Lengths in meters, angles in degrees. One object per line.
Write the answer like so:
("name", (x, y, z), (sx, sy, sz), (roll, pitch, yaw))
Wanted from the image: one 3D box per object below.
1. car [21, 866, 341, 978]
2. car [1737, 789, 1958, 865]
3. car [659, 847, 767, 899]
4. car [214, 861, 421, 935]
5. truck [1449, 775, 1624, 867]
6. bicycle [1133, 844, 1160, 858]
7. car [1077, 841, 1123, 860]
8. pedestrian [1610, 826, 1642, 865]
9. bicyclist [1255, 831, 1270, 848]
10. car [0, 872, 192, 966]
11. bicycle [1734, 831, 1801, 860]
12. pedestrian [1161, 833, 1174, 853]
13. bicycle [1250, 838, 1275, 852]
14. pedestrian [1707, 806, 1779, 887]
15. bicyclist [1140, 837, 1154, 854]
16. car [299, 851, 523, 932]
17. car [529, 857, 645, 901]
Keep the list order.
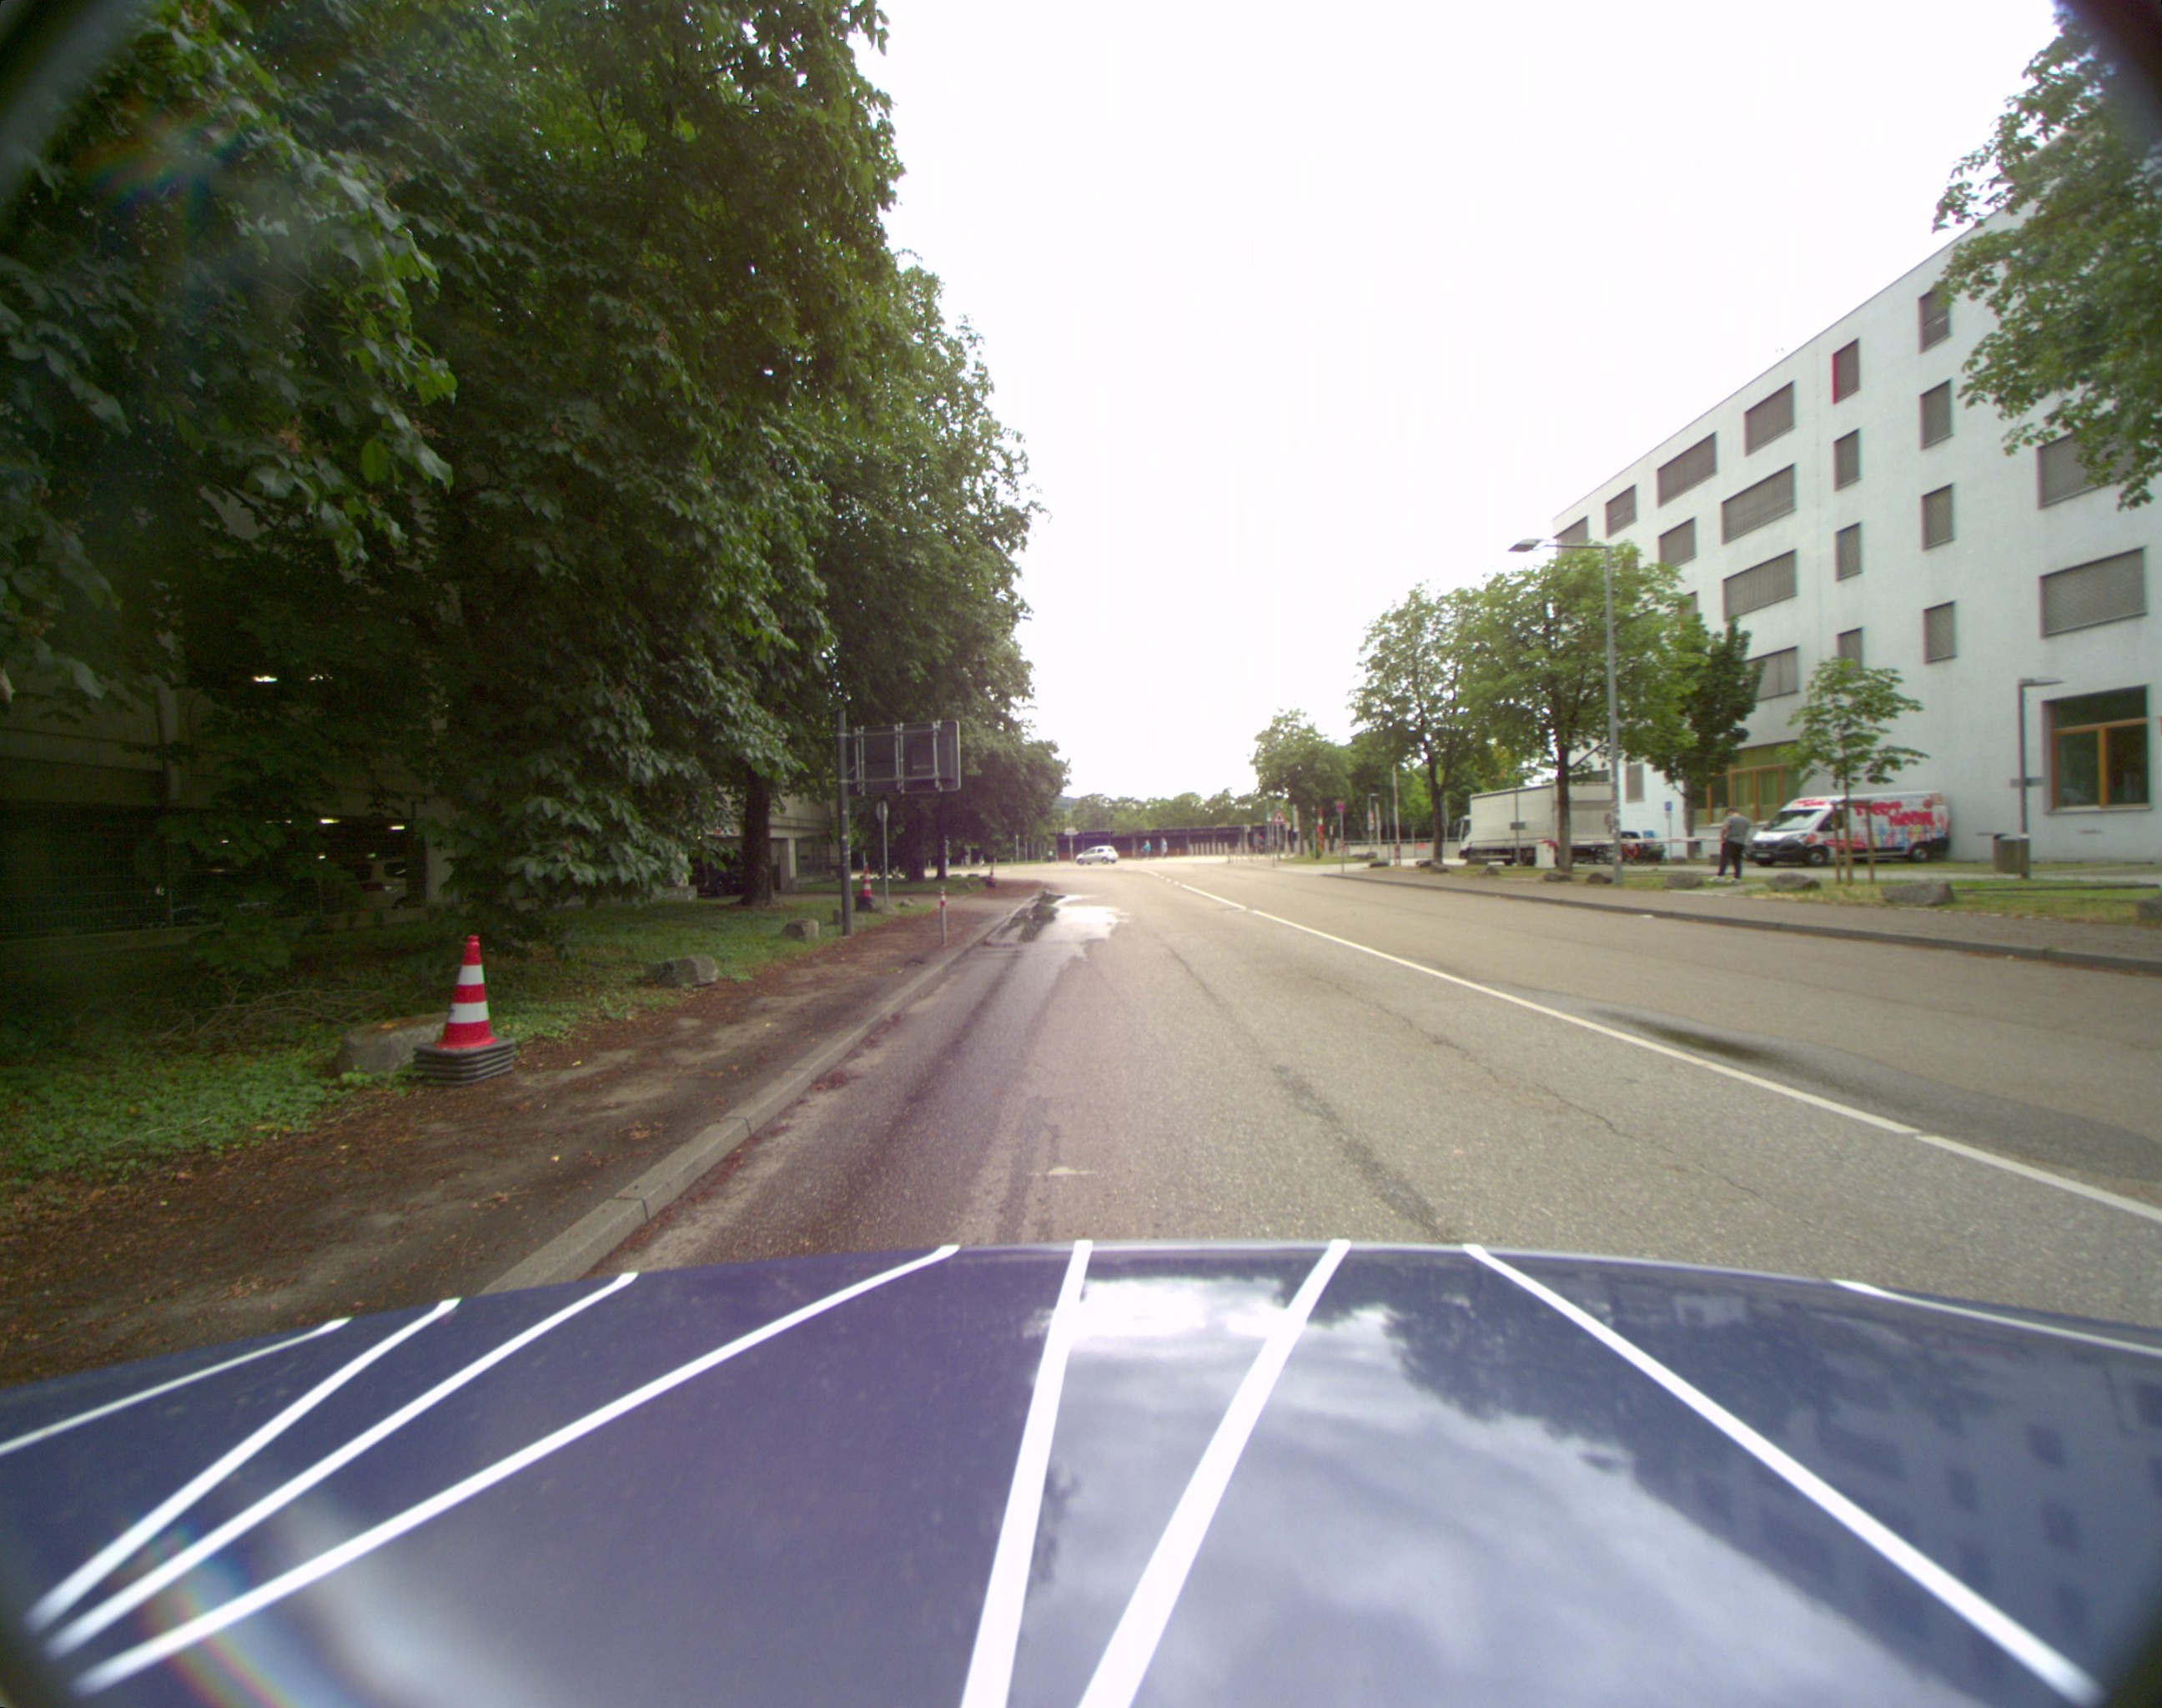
("car", (-17.470, 1.204, 15.090), (1.589, 1.699, 3.856), (-3, 2, 1))
("car", (26.602, -0.939, 26.510), (5.640, 2.266, 2.078), (-3, 2, 0))
("car", (-14.651, 0.669, 30.576), (1.924, 1.824, 4.735), (-3, 1, 0))
("car", (-20.260, 1.098, 20.417), (1.721, 1.577, 3.690), (-3, 2, -1))
("truck", (20.406, -1.435, 34.833), (2.684, 3.580, 8.360), (-3, 2, -2))
("bicycle", (5.926, -0.253, 68.731), (2.257, 1.117, 0.748), (-3, 2, -3))
("car", (1.634, -0.318, 64.782), (3.494, 1.448, 1.609), (-2, 2, 31))
("pedestrian", (23.397, -0.375, 32.640), (0.679, 1.597, 0.887), (-3, 2, -7))
("bicyclist", (16.667, -1.384, 69.870), (1.101, 1.488, 0.927), (-3, 3, -1))
("car", (-20.368, 1.260, 14.773), (1.721, 1.537, 3.700), (-3, 2, -1))
("bicycle", (27.625, -0.343, 30.586), (2.029, 1.064, 0.613), (-3, 2, 4))
("pedestrian", (8.271, -1.016, 72.665), (1.200, 1.824, 0.927), (-3, 3, 4))
("bicycle", (16.709, -0.816, 69.897), (2.050, 1.137, 0.777), (-3, 3, -1))
("pedestrian", (14.181, -0.163, 16.301), (0.786, 1.662, 0.845), (-3, 2, -5))
("bicyclist", (5.982, -0.783, 68.725), (1.159, 1.422, 0.742), (-3, 2, -3))
("car", (-17.245, 0.864, 19.956), (1.589, 1.699, 4.666), (-3, 2, 1))
("car", (-20.003, 0.982, 30.989), (1.876, 1.445, 4.000), (-3, 2, 4))
